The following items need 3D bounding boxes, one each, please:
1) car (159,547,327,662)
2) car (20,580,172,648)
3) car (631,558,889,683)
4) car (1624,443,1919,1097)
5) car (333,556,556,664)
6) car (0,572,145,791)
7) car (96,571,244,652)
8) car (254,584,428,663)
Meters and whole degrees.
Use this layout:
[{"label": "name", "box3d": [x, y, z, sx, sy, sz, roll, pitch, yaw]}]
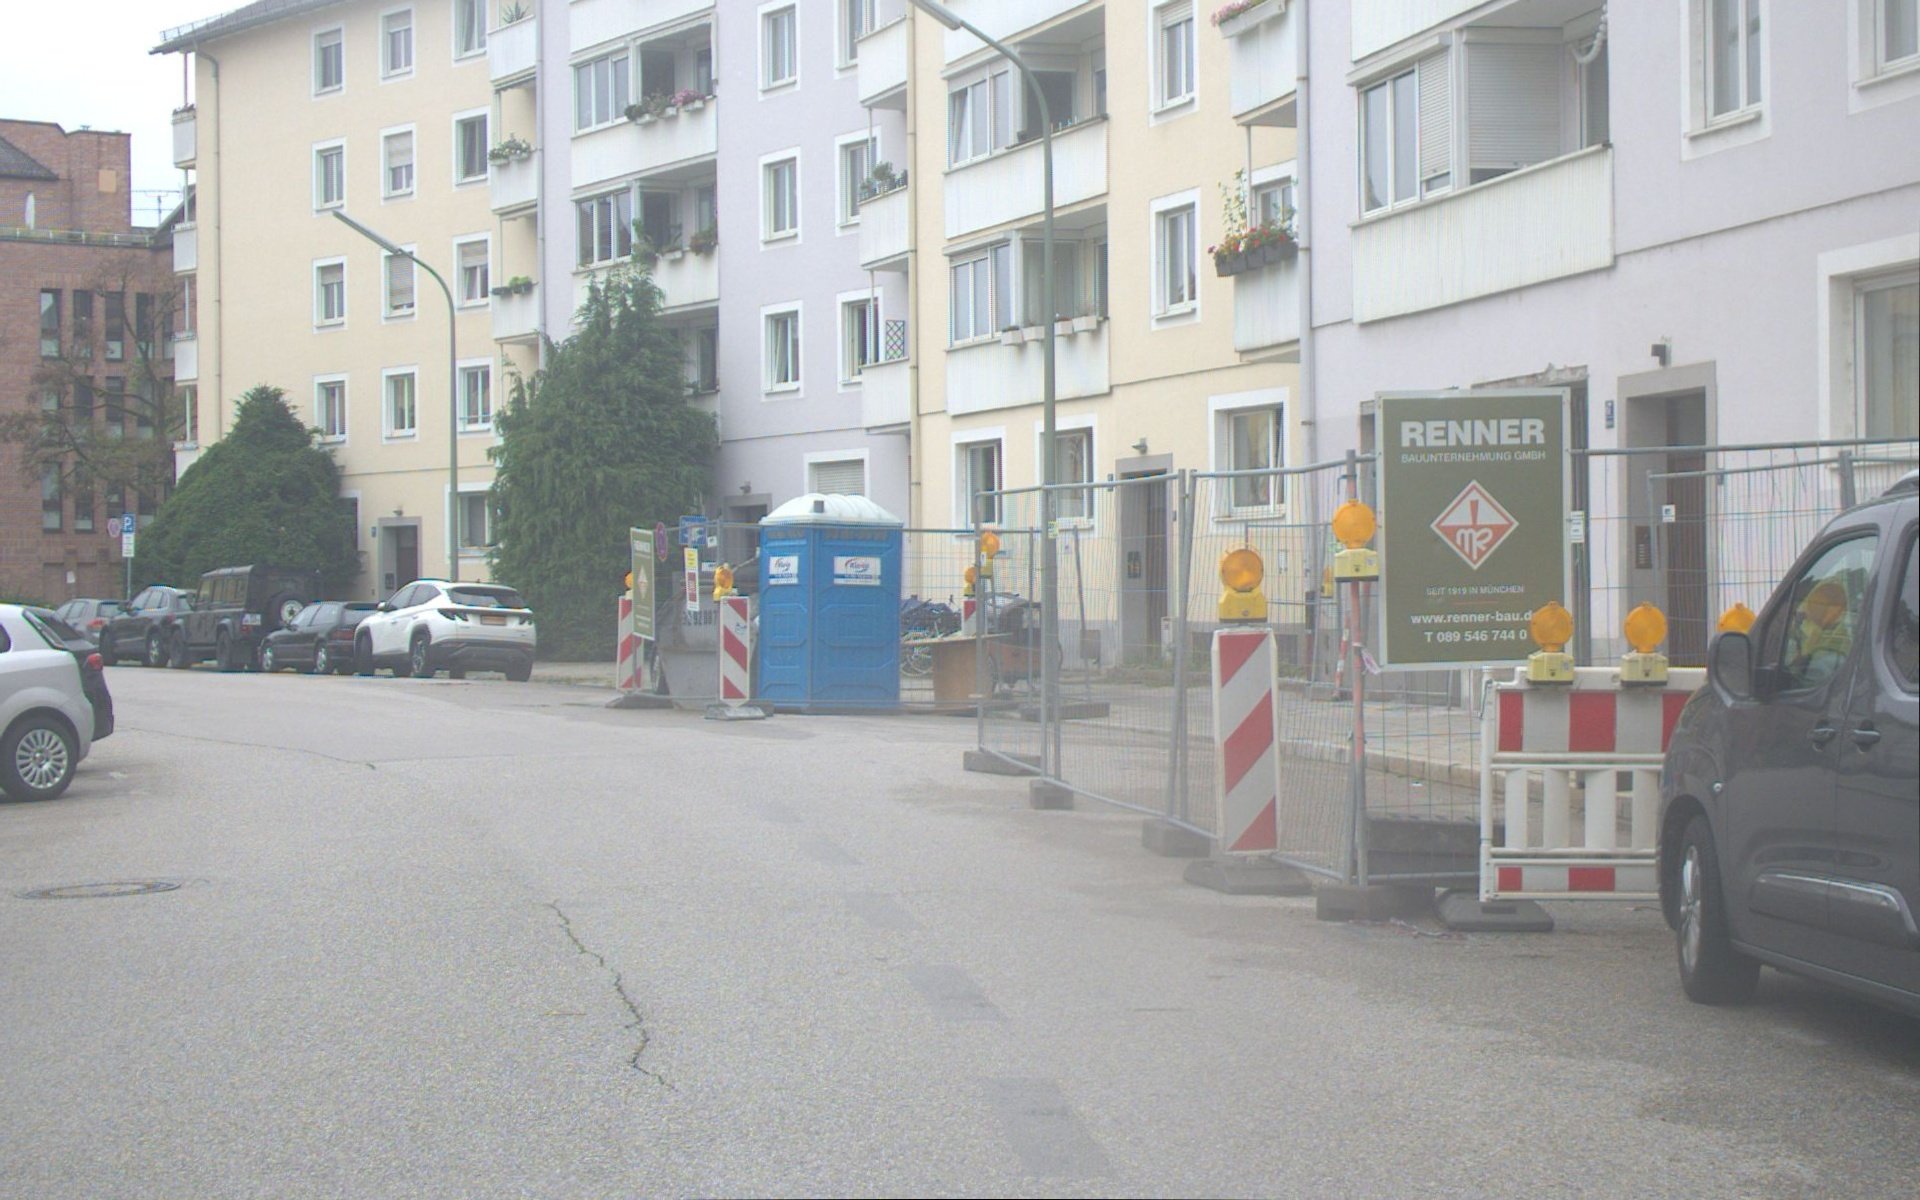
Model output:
[{"label": "car", "box3d": [-13.668, 0.059, 65.342, 1.747, 2.074, 4.516, 1, 0, -30]}, {"label": "car", "box3d": [-18.636, 0.319, 74.092, 1.754, 1.392, 4.043, 2, -2, -36]}, {"label": "car", "box3d": [-2.546, 0.223, 42.598, 1.830, 1.437, 4.630, 1, 0, -21]}, {"label": "car", "box3d": [3.494, 0.480, 10.422, 1.836, 1.793, 4.239, 1, 0, -4]}, {"label": "car", "box3d": [-8.577, 0.138, 56.896, 2.026, 1.672, 4.613, 1, 0, -31]}, {"label": "car", "box3d": [-7.879, 0.539, 23.964, 1.674, 1.525, 3.972, 1, 0, 44]}, {"label": "car", "box3d": [-16.163, 0.245, 70.177, 1.658, 1.560, 4.514, 1, -1, -30]}, {"label": "car", "box3d": [-11.049, 0.445, 61.205, 1.658, 1.344, 3.804, 1, -2, -33]}]
